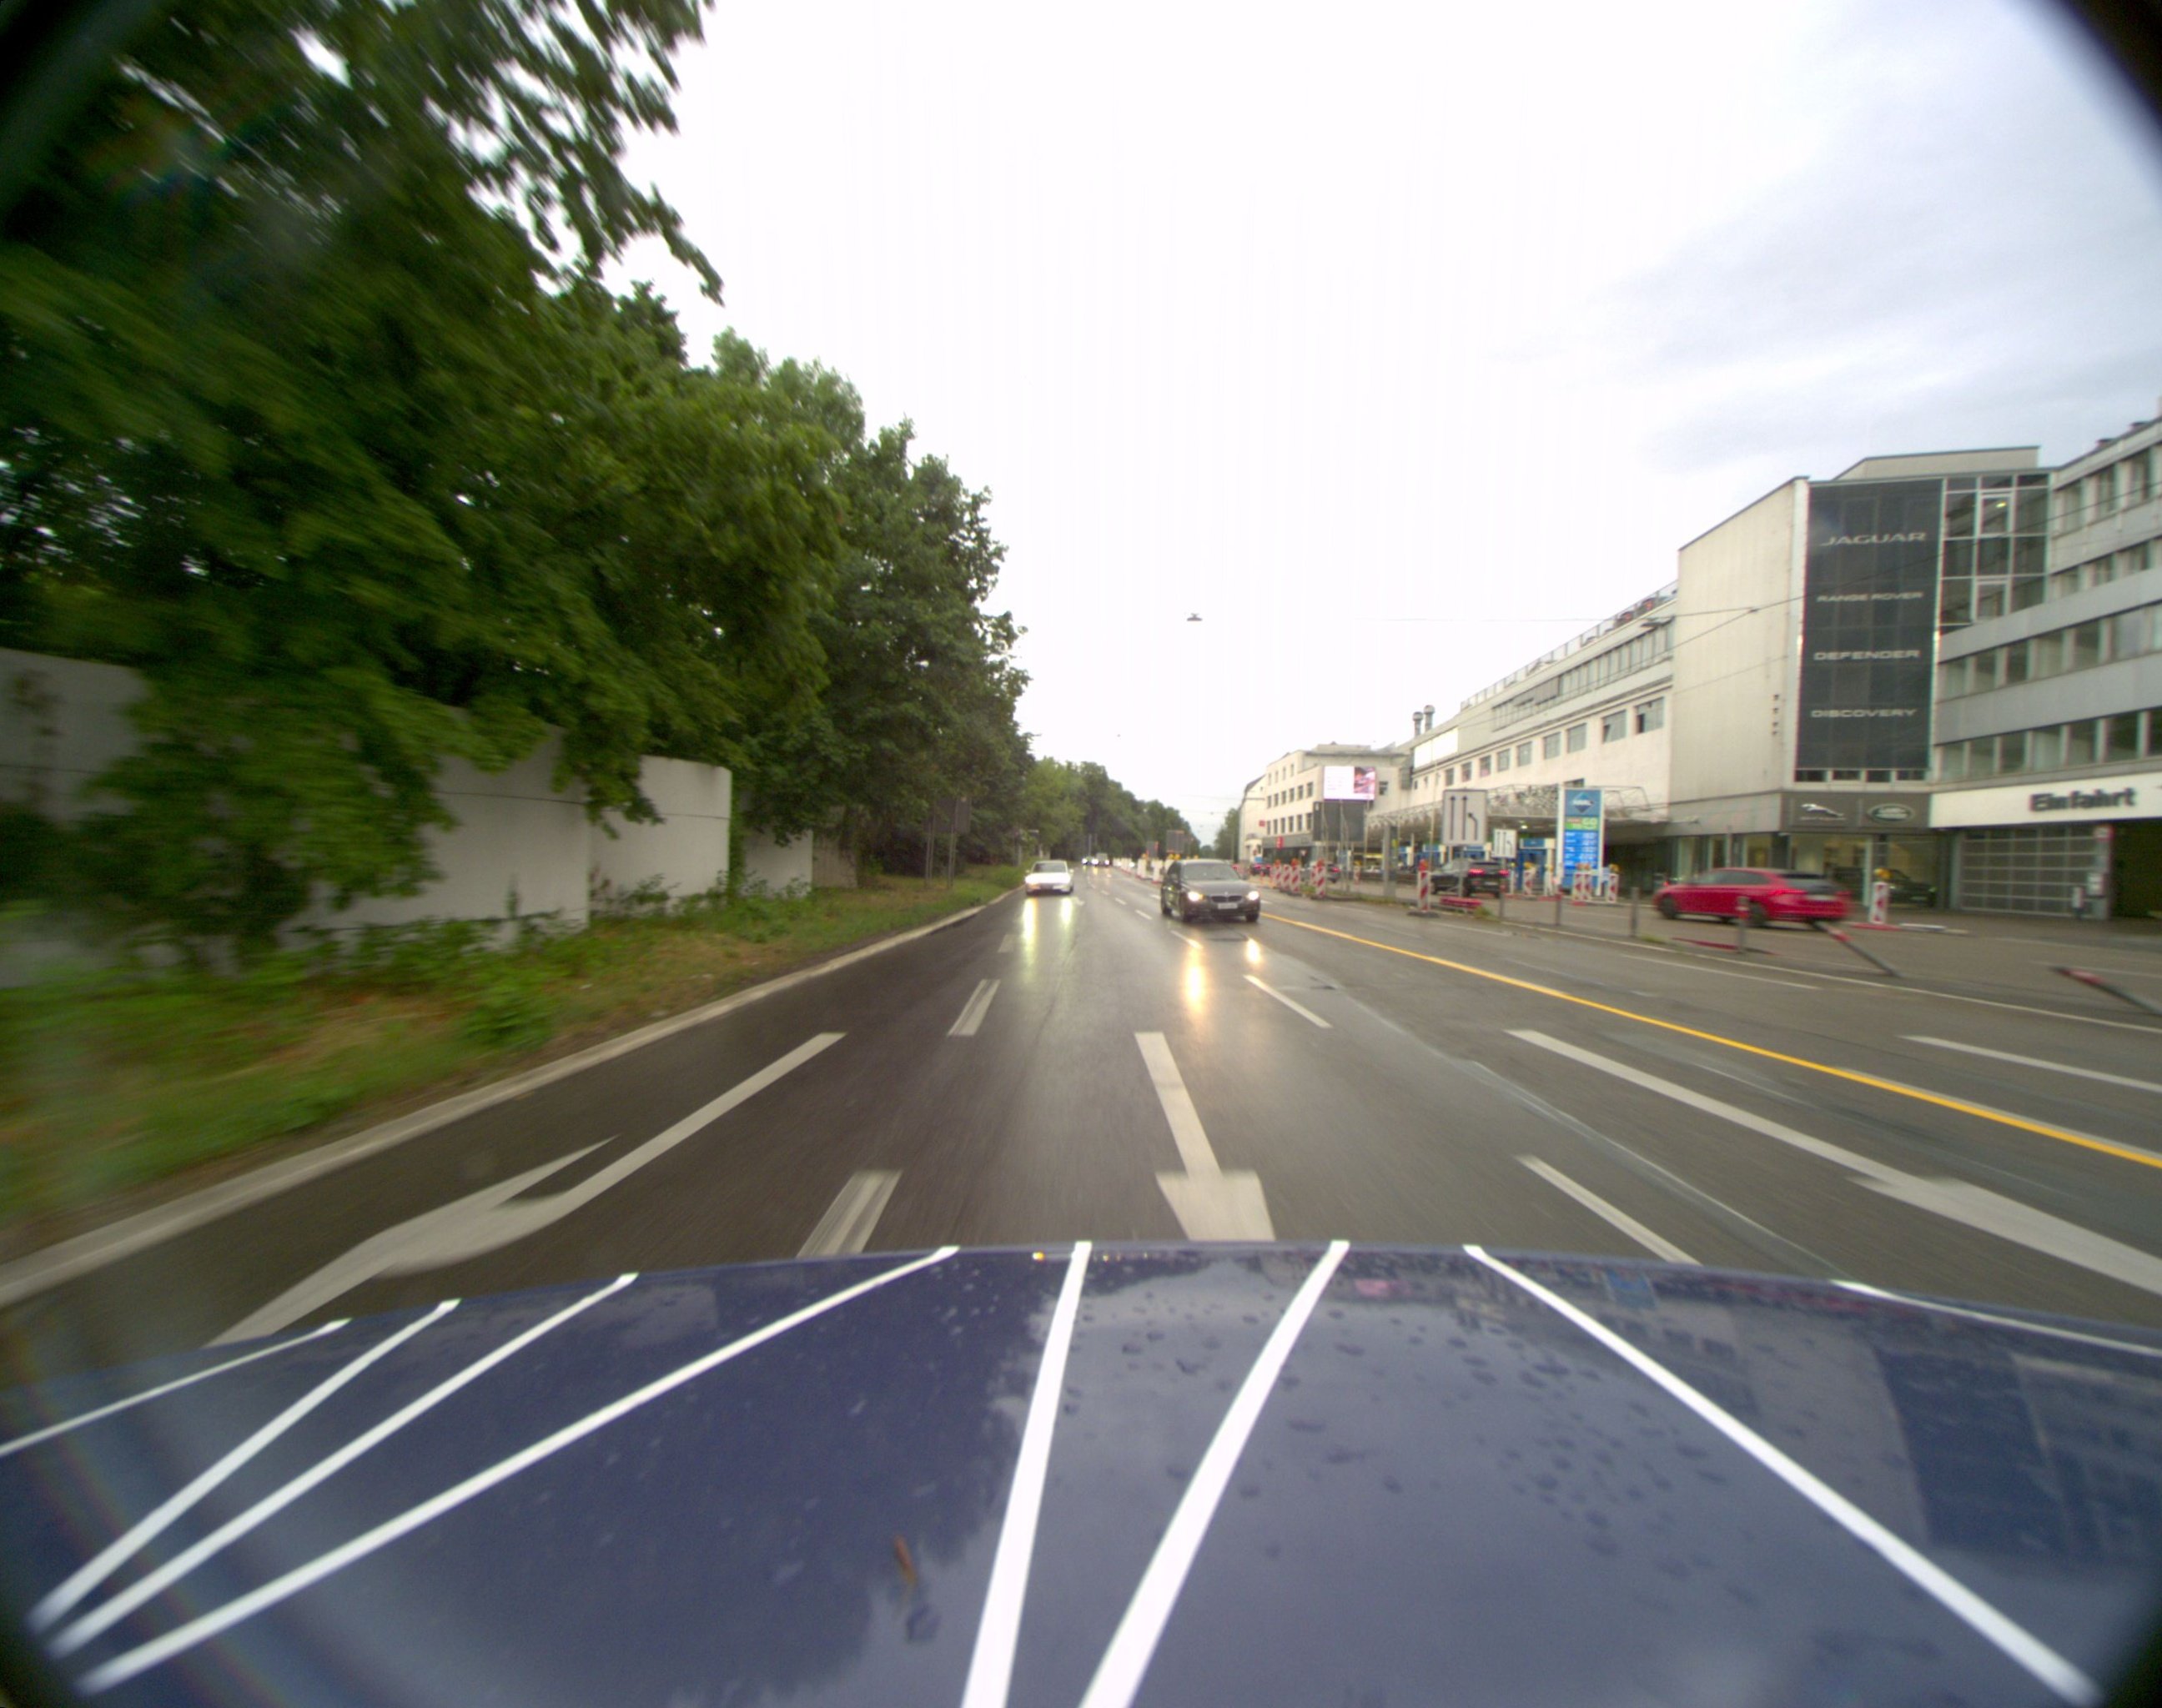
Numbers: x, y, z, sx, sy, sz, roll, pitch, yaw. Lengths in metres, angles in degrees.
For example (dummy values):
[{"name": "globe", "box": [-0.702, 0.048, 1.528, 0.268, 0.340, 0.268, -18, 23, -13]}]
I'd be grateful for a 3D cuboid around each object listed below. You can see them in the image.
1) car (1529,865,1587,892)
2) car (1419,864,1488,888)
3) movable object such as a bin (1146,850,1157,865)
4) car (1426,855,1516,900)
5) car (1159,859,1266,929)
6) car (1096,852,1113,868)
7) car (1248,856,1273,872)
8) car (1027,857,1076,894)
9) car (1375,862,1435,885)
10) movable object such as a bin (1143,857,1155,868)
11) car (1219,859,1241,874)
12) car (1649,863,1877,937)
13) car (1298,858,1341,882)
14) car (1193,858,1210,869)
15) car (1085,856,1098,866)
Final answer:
[{"name": "car", "box": [30.725, 1.559, 49.094, 1.655, 1.526, 3.758, 3, 1, 7]}, {"name": "car", "box": [29.792, 1.754, 60.834, 4.465, 1.669, 2.019, 4, 1, 42]}, {"name": "movable object such as a bin", "box": [14.294, 0.658, 154.903, 1.825, 2.895, 3.610, 3, 0, 9]}, {"name": "car", "box": [17.184, 0.977, 33.763, 1.849, 1.727, 4.606, 2, 1, 4]}, {"name": "car", "box": [3.132, 0.900, 18.901, 1.764, 1.441, 4.176, 1, 1, -2]}, {"name": "car", "box": [2.965, 0.733, 95.379, 1.998, 1.740, 4.001, 3, 1, 3]}, {"name": "car", "box": [18.300, 1.008, 77.617, 1.755, 1.505, 4.000, 3, 1, 4]}, {"name": "car", "box": [-1.210, 0.901, 33.036, 1.839, 1.424, 4.273, -1, 0, 2]}, {"name": "car", "box": [29.049, 1.705, 68.248, 4.431, 1.760, 1.972, 4, 1, 42]}, {"name": "movable object such as a bin", "box": [13.367, 1.727, 149.525, 1.997, 2.099, 3.853, 3, 0, 9]}, {"name": "car", "box": [15.065, 1.266, 76.796, 1.692, 1.346, 4.116, 3, 1, 5]}, {"name": "car", "box": [16.857, 1.048, 19.160, 1.834, 1.493, 4.373, 3, 1, 2]}, {"name": "car", "box": [17.031, 1.097, 54.534, 1.812, 1.549, 4.301, 2, 1, 2]}, {"name": "car", "box": [17.202, 1.338, 108.799, 1.740, 1.396, 4.289, 1, 0, 1]}, {"name": "car", "box": [1.586, 1.019, 114.179, 1.741, 1.477, 3.918, -1, 0, 3]}]
